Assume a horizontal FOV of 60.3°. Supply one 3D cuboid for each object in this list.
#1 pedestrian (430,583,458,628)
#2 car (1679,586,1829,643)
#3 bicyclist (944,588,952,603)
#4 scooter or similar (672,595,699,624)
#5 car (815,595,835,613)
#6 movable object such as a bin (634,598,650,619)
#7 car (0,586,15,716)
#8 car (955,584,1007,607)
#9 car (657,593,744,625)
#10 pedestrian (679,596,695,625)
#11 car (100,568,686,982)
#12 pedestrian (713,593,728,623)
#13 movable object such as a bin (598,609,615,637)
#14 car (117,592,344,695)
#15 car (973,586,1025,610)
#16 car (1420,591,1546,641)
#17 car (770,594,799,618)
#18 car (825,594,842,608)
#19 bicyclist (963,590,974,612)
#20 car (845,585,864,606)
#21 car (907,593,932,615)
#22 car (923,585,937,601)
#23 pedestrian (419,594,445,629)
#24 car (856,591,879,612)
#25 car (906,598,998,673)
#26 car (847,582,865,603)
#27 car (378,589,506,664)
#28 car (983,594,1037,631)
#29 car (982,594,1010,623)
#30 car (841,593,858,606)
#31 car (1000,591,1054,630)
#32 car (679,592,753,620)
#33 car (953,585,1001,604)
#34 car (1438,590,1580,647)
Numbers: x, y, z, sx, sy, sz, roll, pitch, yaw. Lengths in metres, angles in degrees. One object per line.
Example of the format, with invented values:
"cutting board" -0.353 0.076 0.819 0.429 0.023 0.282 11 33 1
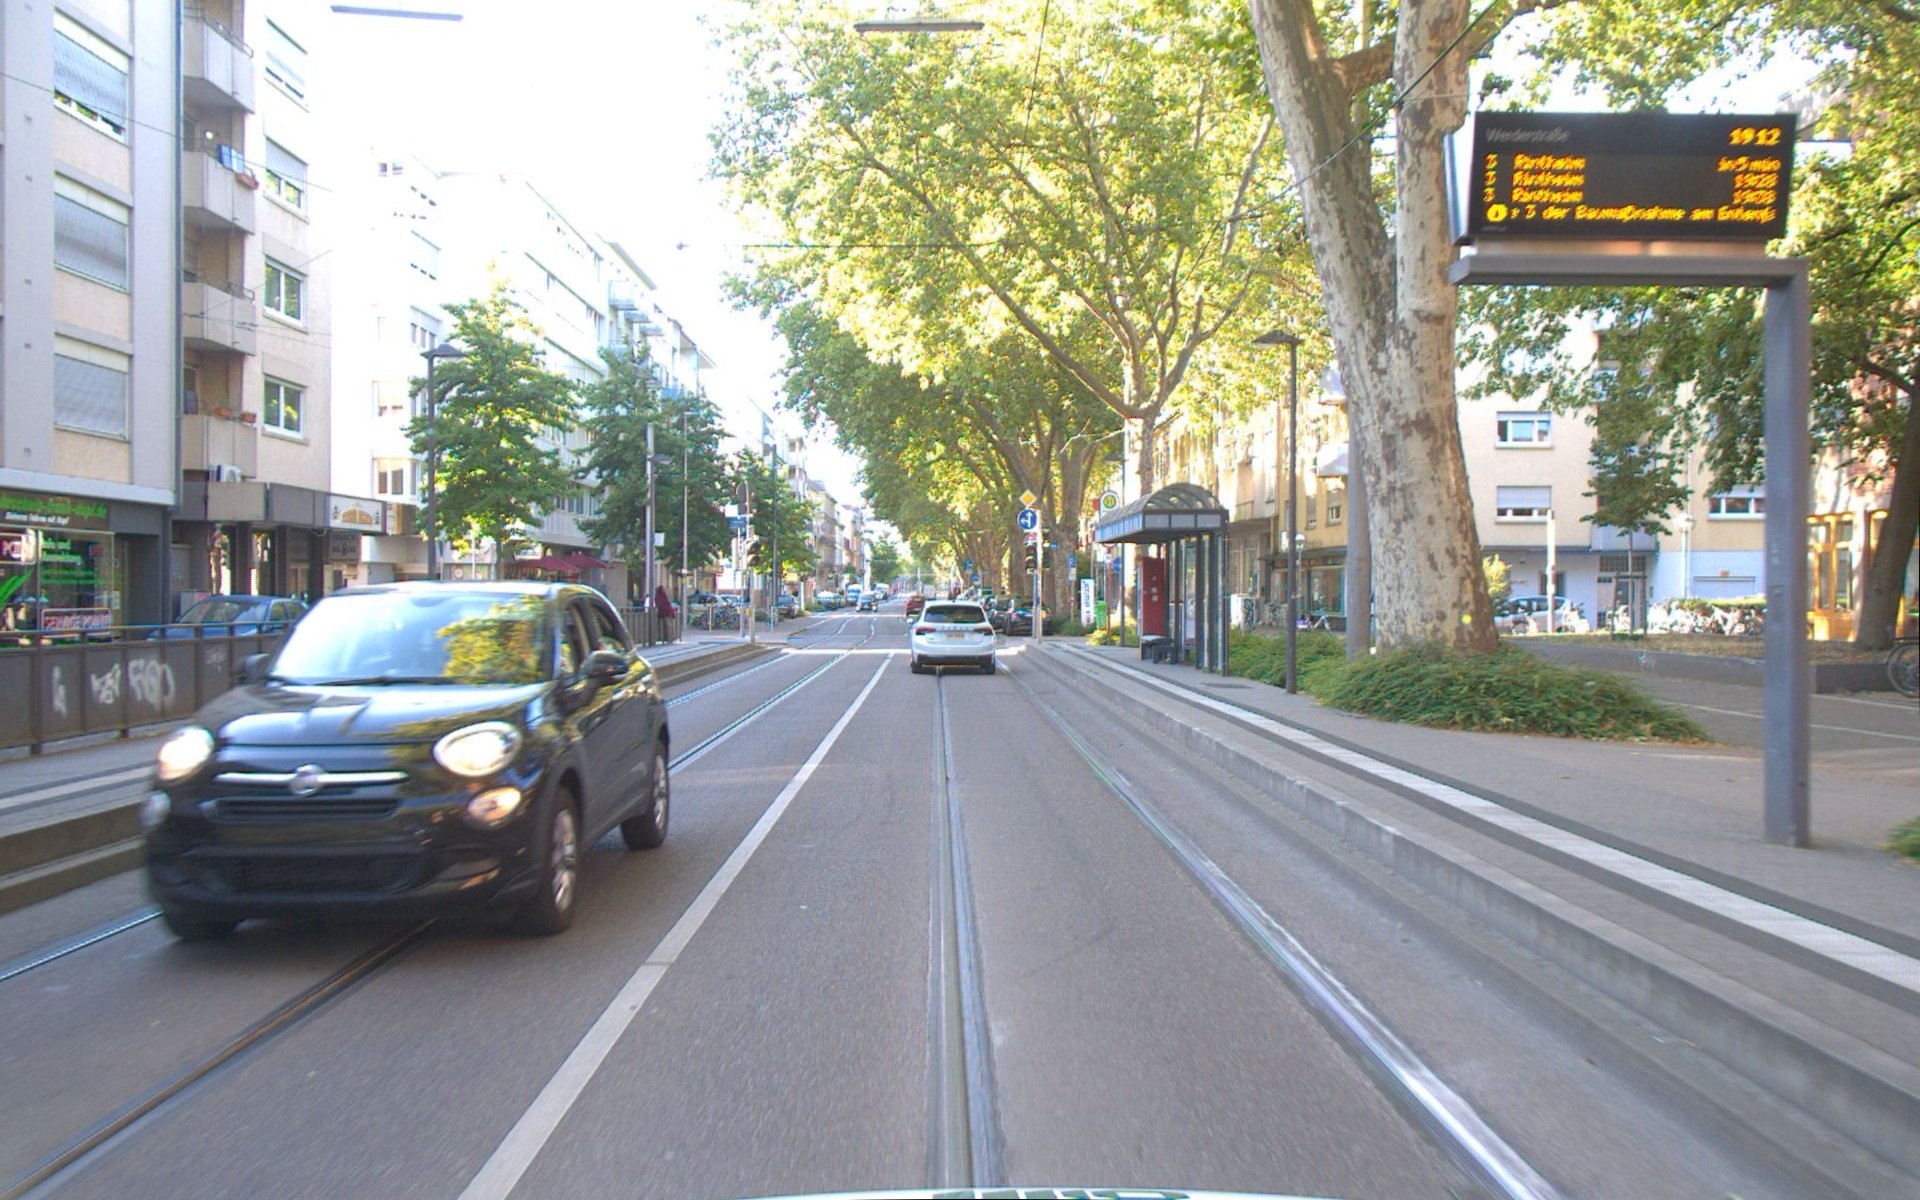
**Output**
"pedestrian" -19.266 0.197 61.746 0.731 1.688 0.769 0 0 5
"car" 24.769 0.446 51.669 3.783 1.722 1.865 0 0 -2
"bicyclist" -1.111 -0.378 151.068 0.636 1.367 0.934 0 0 -3
"scooter or similar" -11.702 0.400 70.572 1.058 1.197 0.498 1 -1 -3
"car" -12.910 0.357 158.613 1.668 1.679 4.239 2 0 -3
"movable object such as a bin" -16.423 0.450 85.399 0.664 1.074 0.622 0 0 0
"car" -11.821 0.603 17.030 1.758 1.489 4.281 -1 0 -1
"car" 2.422 -0.578 193.755 6.008 2.681 2.528 0 0 -3
"car" -12.703 0.431 81.095 3.931 1.501 1.851 1 0 -1
"pedestrian" -12.822 0.486 77.712 0.700 1.320 0.744 0 0 -15
"car" -2.565 0.679 8.532 1.726 1.616 3.999 0 0 -2
"pedestrian" -13.870 0.447 95.713 0.748 1.720 0.794 0 0 -3
"movable object such as a bin" -12.333 0.790 57.733 0.530 0.948 0.647 0 0 -18
"car" -12.182 0.671 27.959 1.916 1.571 4.388 -1 0 -1
"car" 3.452 -0.164 146.782 4.453 2.113 1.999 0 0 -4
"car" 18.063 0.544 57.217 3.783 1.579 1.866 0 3 -2
"car" -11.599 0.401 109.163 1.681 1.489 3.993 3 0 -8
"car" -13.310 0.110 174.305 1.620 1.462 3.835 0 0 -3
"bicyclist" 0.568 0.060 109.299 0.664 1.468 1.047 0 0 0
"car" -13.710 -0.617 214.994 2.134 2.642 4.948 0 0 -1
"car" -2.864 0.280 117.039 1.726 1.501 3.998 0 0 -2
"car" -4.539 -1.014 250.231 2.157 2.429 3.999 0 0 -1
"pedestrian" -19.423 0.420 60.807 0.741 1.263 0.759 0 0 -35
"car" -7.761 0.135 139.125 1.834 1.617 4.144 2 0 -3
"car" -0.215 0.678 33.893 1.726 1.408 3.998 0 0 -2
"car" -14.681 -1.041 233.644 2.295 2.911 3.999 0 0 -1
"car" -12.576 0.604 40.428 1.840 1.680 4.356 -1 0 -2
"car" 2.097 0.508 70.349 1.828 1.462 4.222 -1 0 -4
"car" 1.989 0.453 91.968 1.531 1.545 2.910 -1 -1 1
"car" -13.557 -0.075 203.272 1.953 1.557 3.999 0 0 -1
"car" 2.599 0.393 65.257 1.729 1.488 5.009 0 0 -3
"car" -13.655 0.329 92.644 3.933 1.501 1.850 1 0 -4
"car" 2.211 -0.699 212.371 6.008 2.322 2.528 0 0 -3
"car" 16.979 0.554 51.304 3.783 1.722 1.865 0 0 -2
